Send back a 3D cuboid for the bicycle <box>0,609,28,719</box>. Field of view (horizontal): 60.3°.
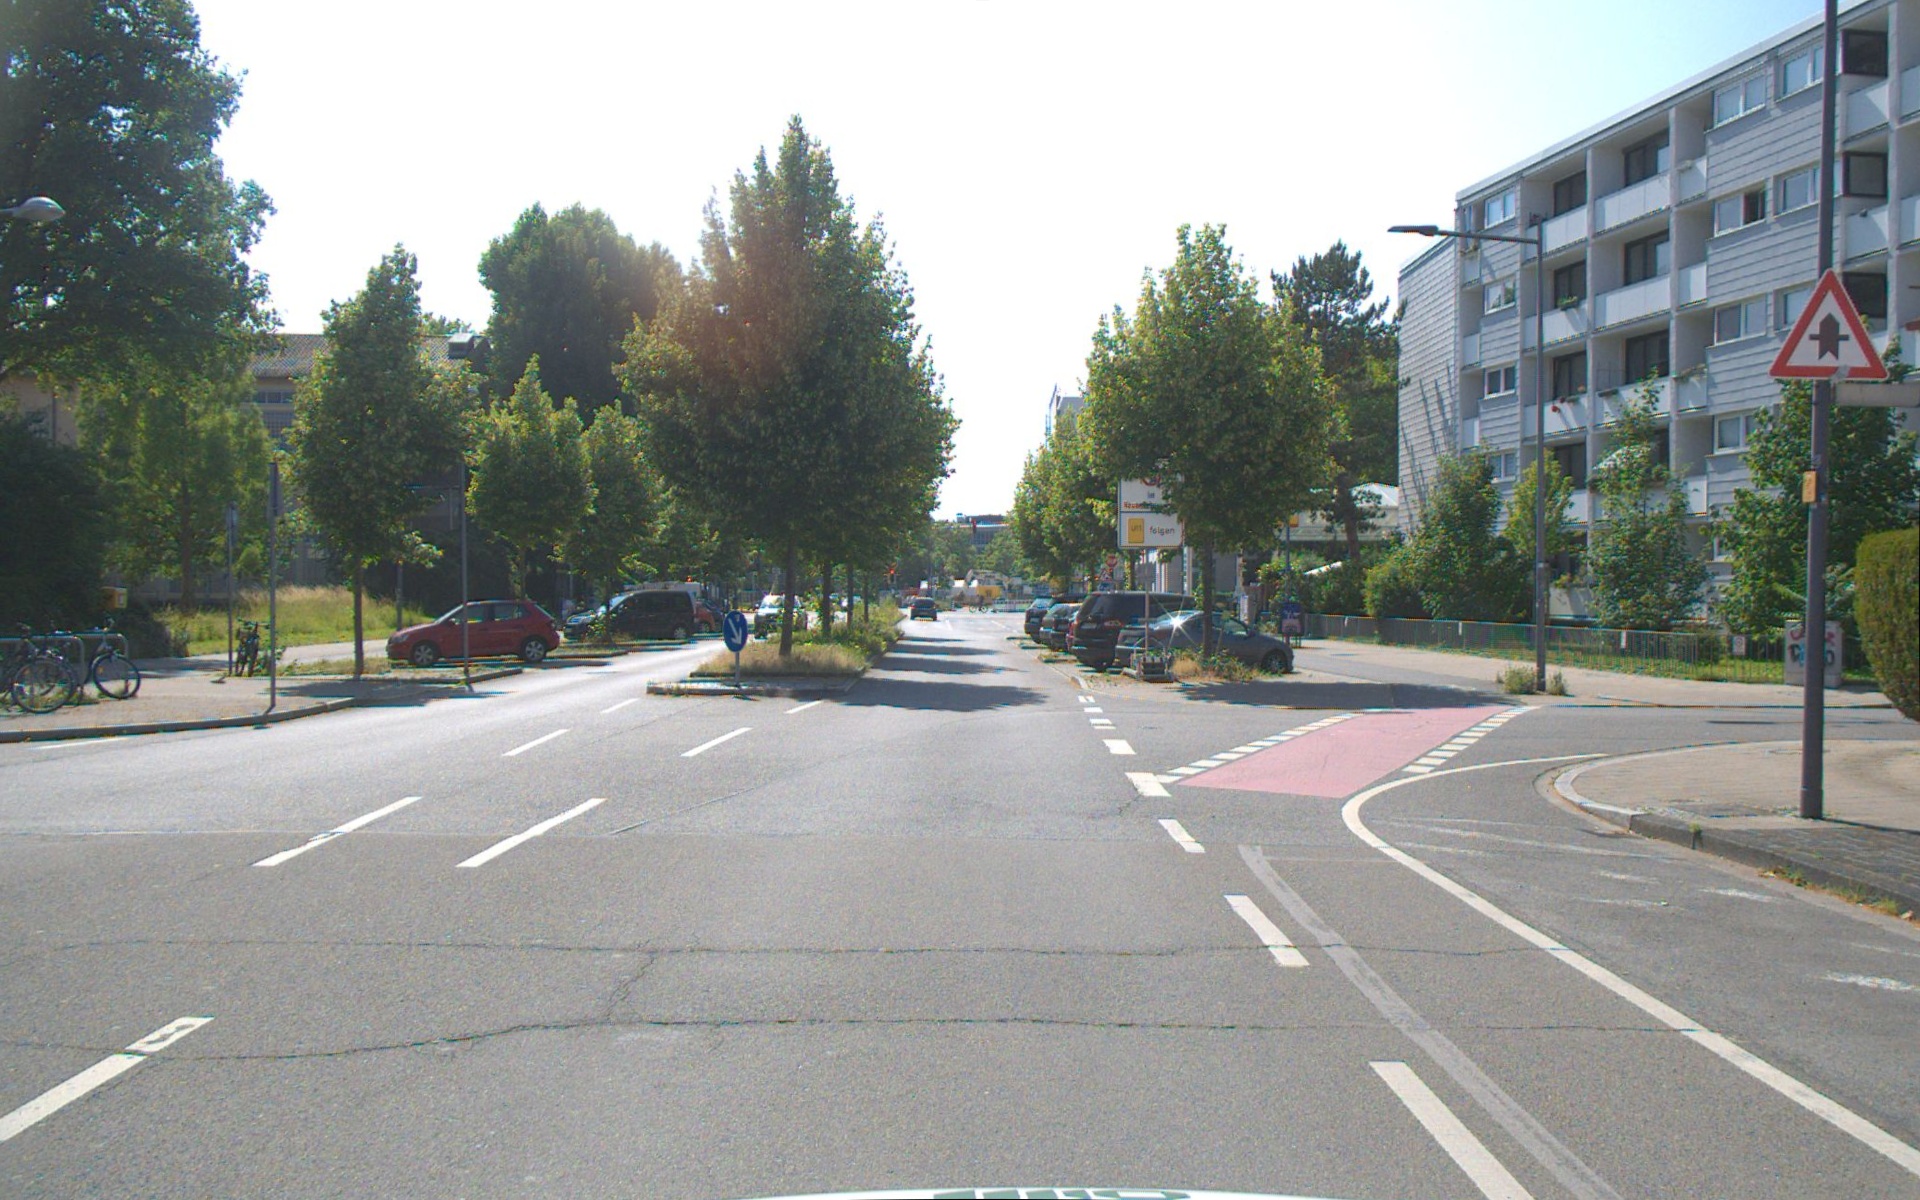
[{"bbox_3d":[-12.460,0.772,19.471,2.494,1.261,0.739,-1,1,-3],"label":"bicycle"}]

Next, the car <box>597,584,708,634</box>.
[{"bbox_3d":[-11.363,0.329,61.146,3.717,1.803,1.803,0,0,-27],"label":"car"}]

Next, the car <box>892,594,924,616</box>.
[{"bbox_3d":[-3.394,0.330,107.300,1.954,1.422,3.997,0,0,-4],"label":"car"}]

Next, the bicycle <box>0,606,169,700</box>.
[{"bbox_3d":[-12.448,0.724,23.009,2.494,1.278,0.739,0,0,-3],"label":"bicycle"}]

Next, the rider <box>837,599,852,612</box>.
[{"bbox_3d":[-11.350,0.543,162.444,1.363,1.217,2.696,0,0,-3],"label":"rider"}]

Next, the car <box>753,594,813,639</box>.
[{"bbox_3d":[-6.520,0.593,61.287,1.706,1.574,4.073,-1,0,0],"label":"car"}]

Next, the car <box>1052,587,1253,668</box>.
[{"bbox_3d":[4.225,0.555,36.064,4.071,1.668,2.020,0,0,-34],"label":"car"}]

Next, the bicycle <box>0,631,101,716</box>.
[{"bbox_3d":[-12.219,0.927,20.690,2.494,1.005,0.739,-1,1,-3],"label":"bicycle"}]

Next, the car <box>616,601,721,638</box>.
[{"bbox_3d":[-11.626,0.763,65.951,3.801,1.448,1.693,0,0,-37],"label":"car"}]

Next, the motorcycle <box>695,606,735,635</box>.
[{"bbox_3d":[-11.384,0.961,77.016,1.810,1.307,0.692,0,0,-8],"label":"motorcycle"}]

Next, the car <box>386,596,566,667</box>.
[{"bbox_3d":[-11.458,0.711,39.138,3.931,1.492,1.987,-1,1,-22],"label":"car"}]

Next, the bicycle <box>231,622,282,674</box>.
[{"bbox_3d":[-13.106,0.888,30.837,0.510,0.919,1.269,-1,0,-5],"label":"bicycle"}]

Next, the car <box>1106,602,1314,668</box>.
[{"bbox_3d":[5.070,0.682,33.525,3.939,1.258,1.738,0,0,-27],"label":"car"}]

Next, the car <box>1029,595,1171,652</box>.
[{"bbox_3d":[4.183,0.692,49.484,3.918,1.668,1.747,0,0,-13],"label":"car"}]

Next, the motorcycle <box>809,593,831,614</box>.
[{"bbox_3d":[-6.955,0.163,82.271,0.904,1.010,2.235,0,0,1],"label":"motorcycle"}]

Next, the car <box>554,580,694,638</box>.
[{"bbox_3d":[-11.164,0.260,55.079,4.147,1.848,1.977,-1,1,-39],"label":"car"}]

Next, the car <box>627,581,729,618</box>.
[{"bbox_3d":[-21.043,-0.088,123.649,7.282,2.721,2.900,0,1,-4],"label":"car"}]

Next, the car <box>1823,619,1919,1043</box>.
[{"bbox_3d":[4.050,0.791,4.165,1.584,1.414,3.999,1,0,-1],"label":"car"}]

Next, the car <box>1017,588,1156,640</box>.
[{"bbox_3d":[4.293,0.441,55.831,4.690,1.689,1.732,0,0,-35],"label":"car"}]

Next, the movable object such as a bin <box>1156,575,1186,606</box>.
[{"bbox_3d":[11.250,-0.503,88.090,1.281,1.620,1.395,-2,0,-3],"label":"movable object such as a bin"}]

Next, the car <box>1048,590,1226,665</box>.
[{"bbox_3d":[4.210,0.657,39.106,3.953,1.669,1.857,0,-2,-35],"label":"car"}]

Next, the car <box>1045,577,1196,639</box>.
[{"bbox_3d":[4.523,0.207,46.655,3.932,1.668,1.741,0,1,-23],"label":"car"}]

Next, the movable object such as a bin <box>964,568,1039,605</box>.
[{"bbox_3d":[5.288,-1.701,210.496,9.475,4.629,3.164,0,0,1],"label":"movable object such as a bin"}]

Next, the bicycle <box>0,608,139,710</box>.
[{"bbox_3d":[-12.289,0.777,21.852,2.465,1.278,0.739,-1,1,-3],"label":"bicycle"}]
